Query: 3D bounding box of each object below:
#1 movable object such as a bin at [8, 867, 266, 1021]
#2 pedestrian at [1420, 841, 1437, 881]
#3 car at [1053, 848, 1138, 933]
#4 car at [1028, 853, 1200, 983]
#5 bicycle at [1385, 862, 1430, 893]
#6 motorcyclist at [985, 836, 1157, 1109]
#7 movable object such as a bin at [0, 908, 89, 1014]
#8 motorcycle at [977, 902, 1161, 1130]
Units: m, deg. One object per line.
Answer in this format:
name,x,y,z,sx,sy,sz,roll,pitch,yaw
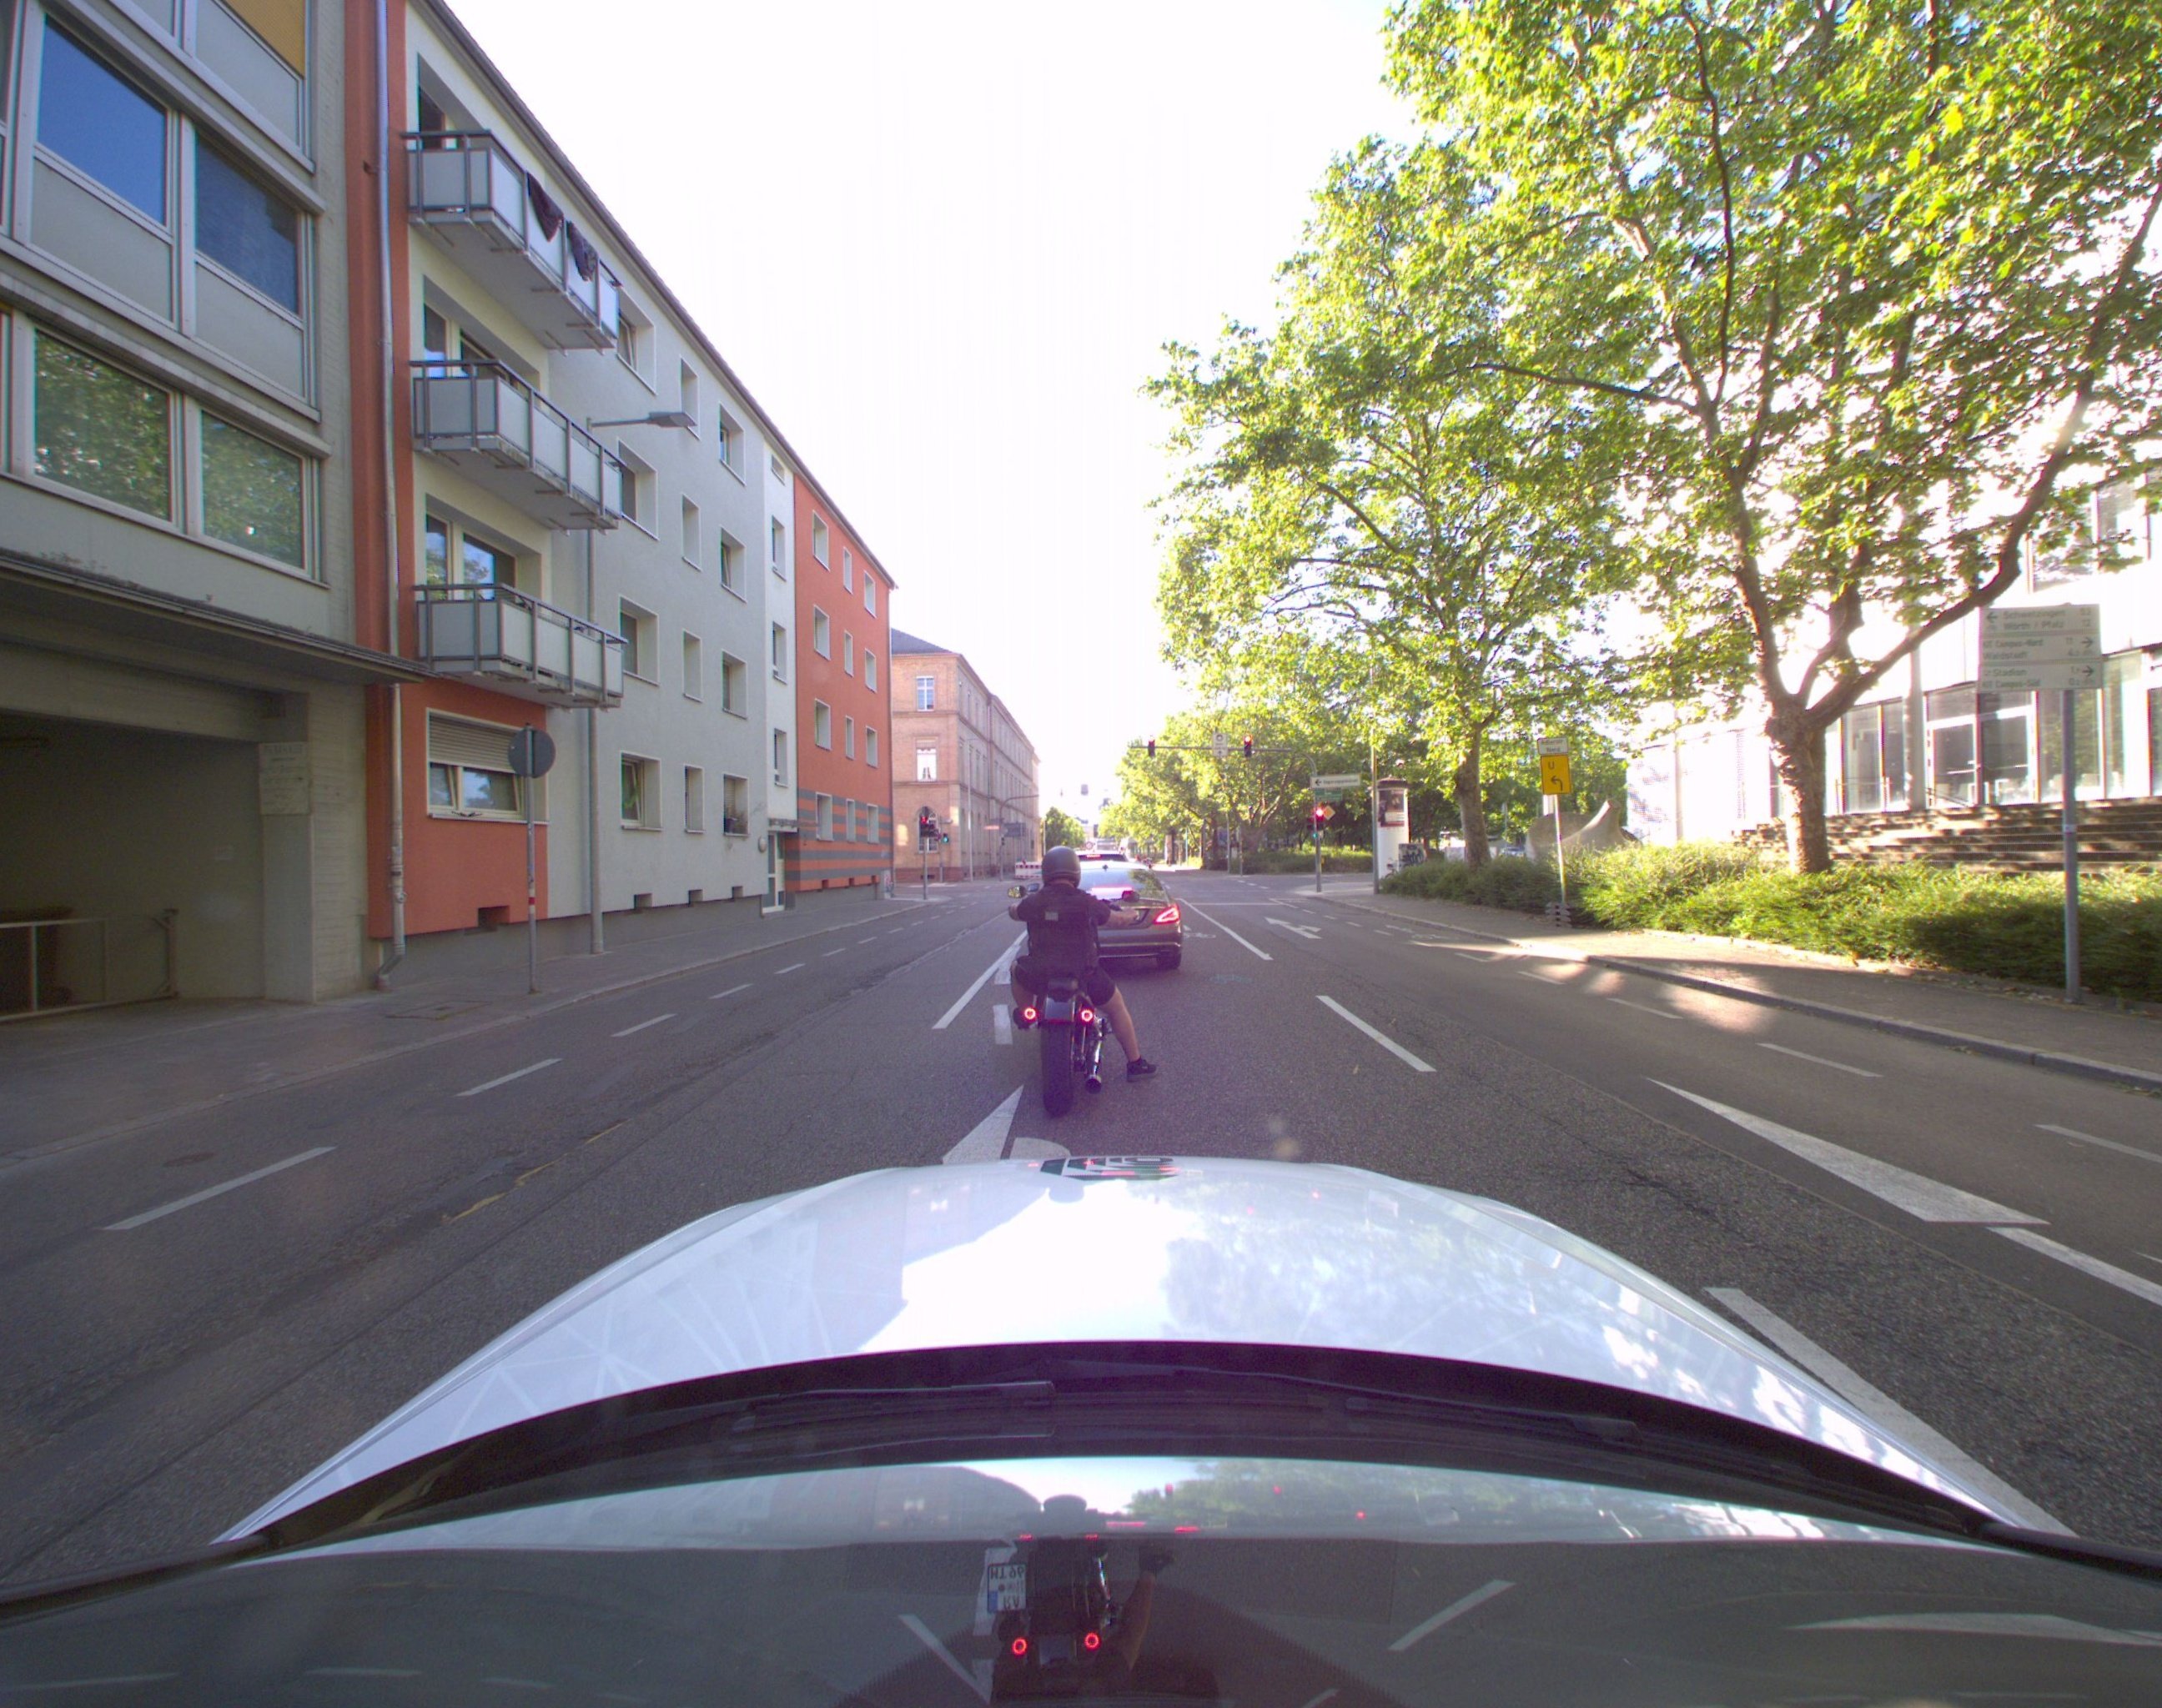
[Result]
movable object such as a bin,-9.627,0.873,8.374,1.322,1.430,1.134,-1,0,3
pedestrian,16.415,0.316,38.450,0.549,1.849,0.594,-1,0,3
car,0.320,0.708,17.896,1.606,1.607,4.329,-1,0,1
car,0.256,0.745,11.726,1.943,1.473,4.355,-1,0,-5
bicycle,11.035,0.792,27.526,1.346,1.023,0.363,-1,0,2
motorcyclist,-0.038,0.702,5.535,0.986,1.597,1.404,-1,0,2
movable object such as a bin,-11.317,1.120,8.690,0.593,1.041,0.703,0,-1,1
motorcycle,-0.029,0.961,5.688,0.986,1.078,2.453,-1,0,2
